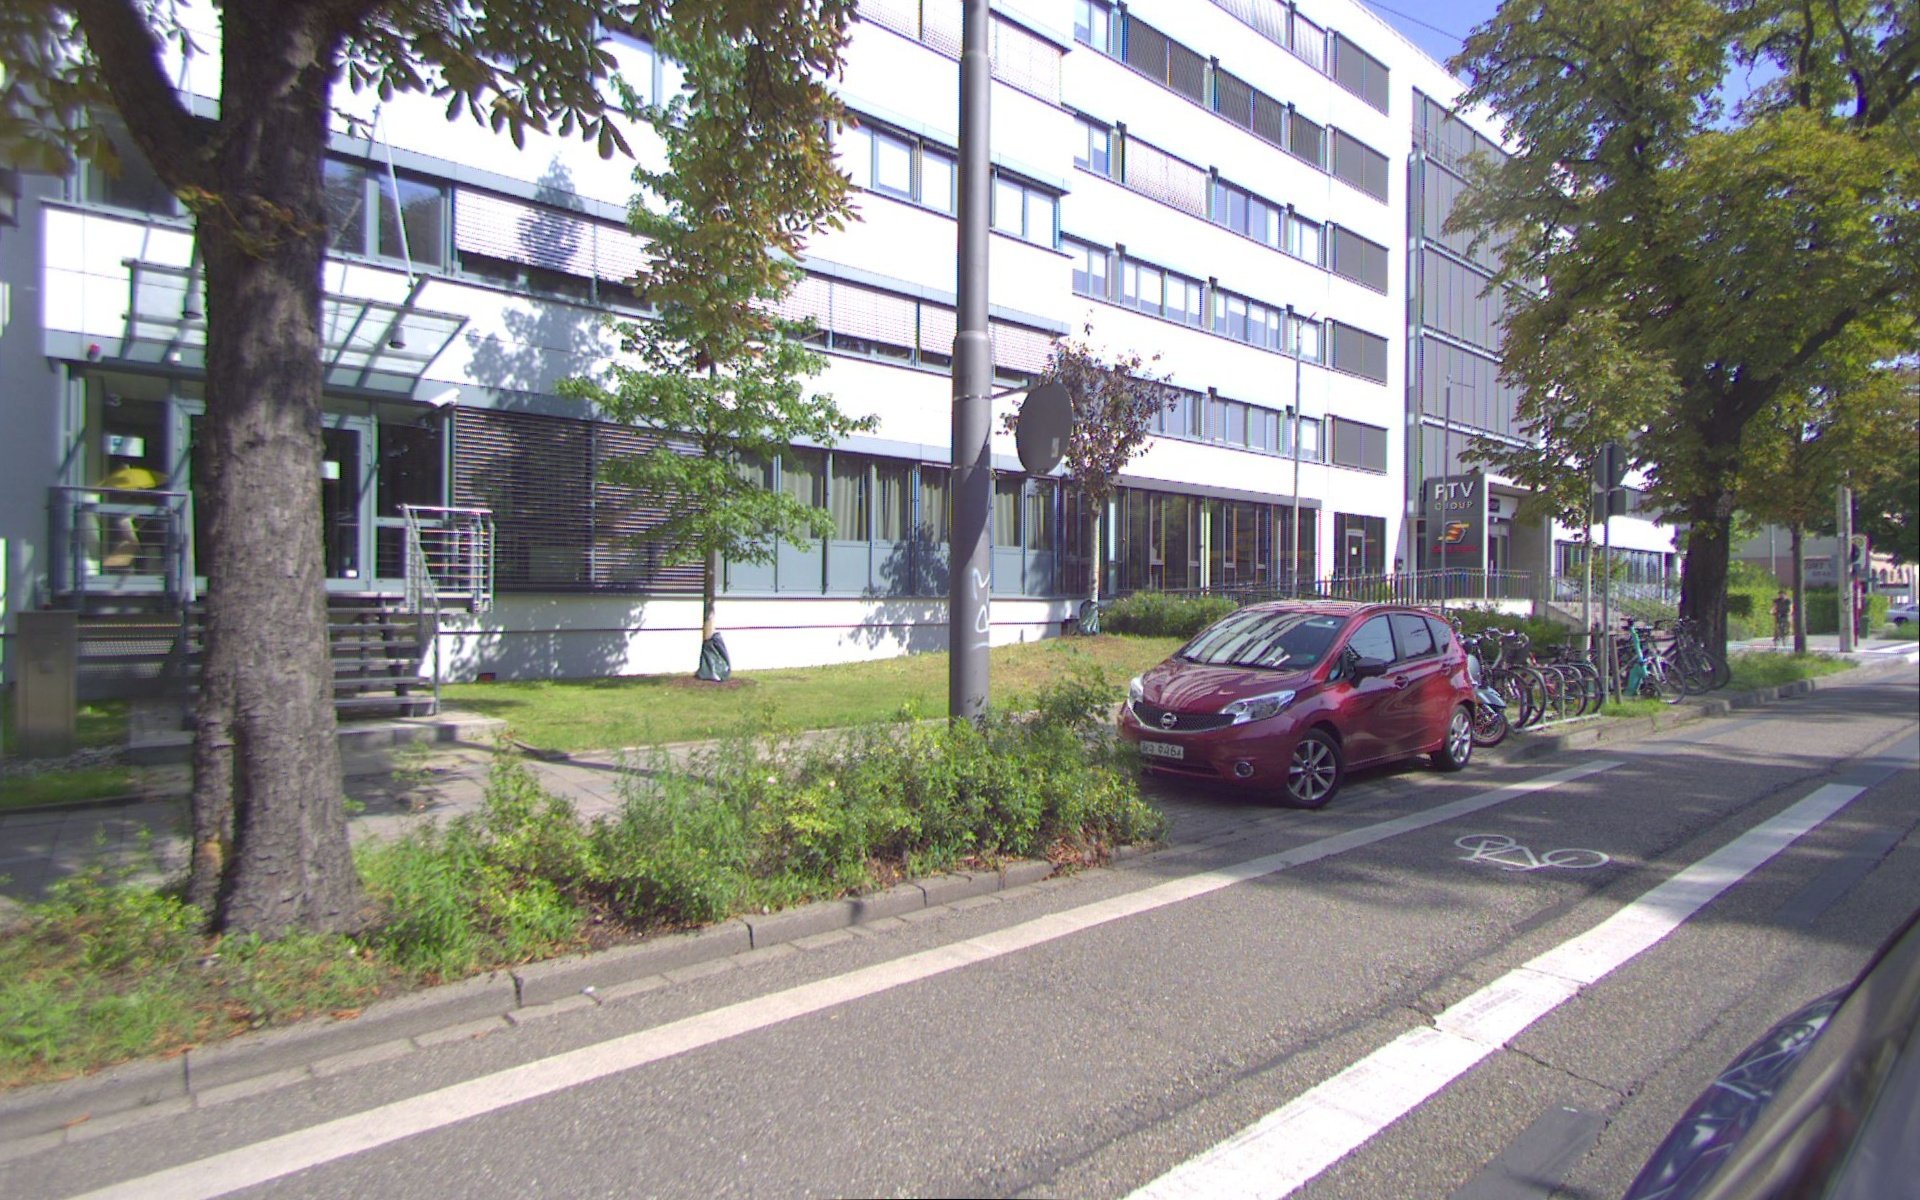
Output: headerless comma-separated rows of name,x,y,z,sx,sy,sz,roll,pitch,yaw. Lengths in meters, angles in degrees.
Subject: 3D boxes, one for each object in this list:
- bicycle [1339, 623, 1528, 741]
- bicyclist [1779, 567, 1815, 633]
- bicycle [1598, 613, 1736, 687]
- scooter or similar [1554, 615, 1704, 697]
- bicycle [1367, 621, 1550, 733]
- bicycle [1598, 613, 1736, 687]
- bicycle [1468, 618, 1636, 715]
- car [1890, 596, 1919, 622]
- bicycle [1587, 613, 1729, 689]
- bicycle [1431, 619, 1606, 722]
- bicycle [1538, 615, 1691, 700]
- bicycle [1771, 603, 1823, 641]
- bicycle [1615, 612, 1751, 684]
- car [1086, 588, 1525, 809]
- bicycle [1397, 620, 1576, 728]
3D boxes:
bicycle,5.032,0.829,10.858,0.531,1.085,1.774,0,1,-40
bicyclist,26.339,-0.015,31.863,0.779,2.039,1.257,0,0,37
bicycle,11.514,0.781,16.532,0.531,1.085,1.774,0,1,-40
scooter or similar,9.901,0.793,15.040,0.531,1.085,1.774,0,1,-40
bicycle,5.573,0.825,11.399,0.531,1.085,1.774,0,1,-40
bicycle,11.514,0.781,16.532,0.531,1.085,1.774,0,1,-40
bicycle,7.558,0.811,12.986,0.531,1.085,1.774,0,1,-40
car,58.658,0.553,60.388,1.929,1.534,4.542,0,0,-44
bicycle,11.085,0.784,16.125,0.531,1.085,1.774,0,1,-40
bicycle,6.733,0.817,12.285,0.531,1.085,1.774,0,1,-40
bicycle,9.453,0.797,14.664,0.531,1.085,1.774,0,1,-40
bicycle,26.384,0.669,31.945,1.132,1.139,2.503,0,0,37
bicycle,12.065,0.777,16.938,0.531,1.085,1.774,0,1,-40
car,3.196,0.656,8.923,4.199,1.480,1.759,0,1,-40
bicycle,6.094,0.821,11.807,0.531,1.085,1.774,0,1,-40
